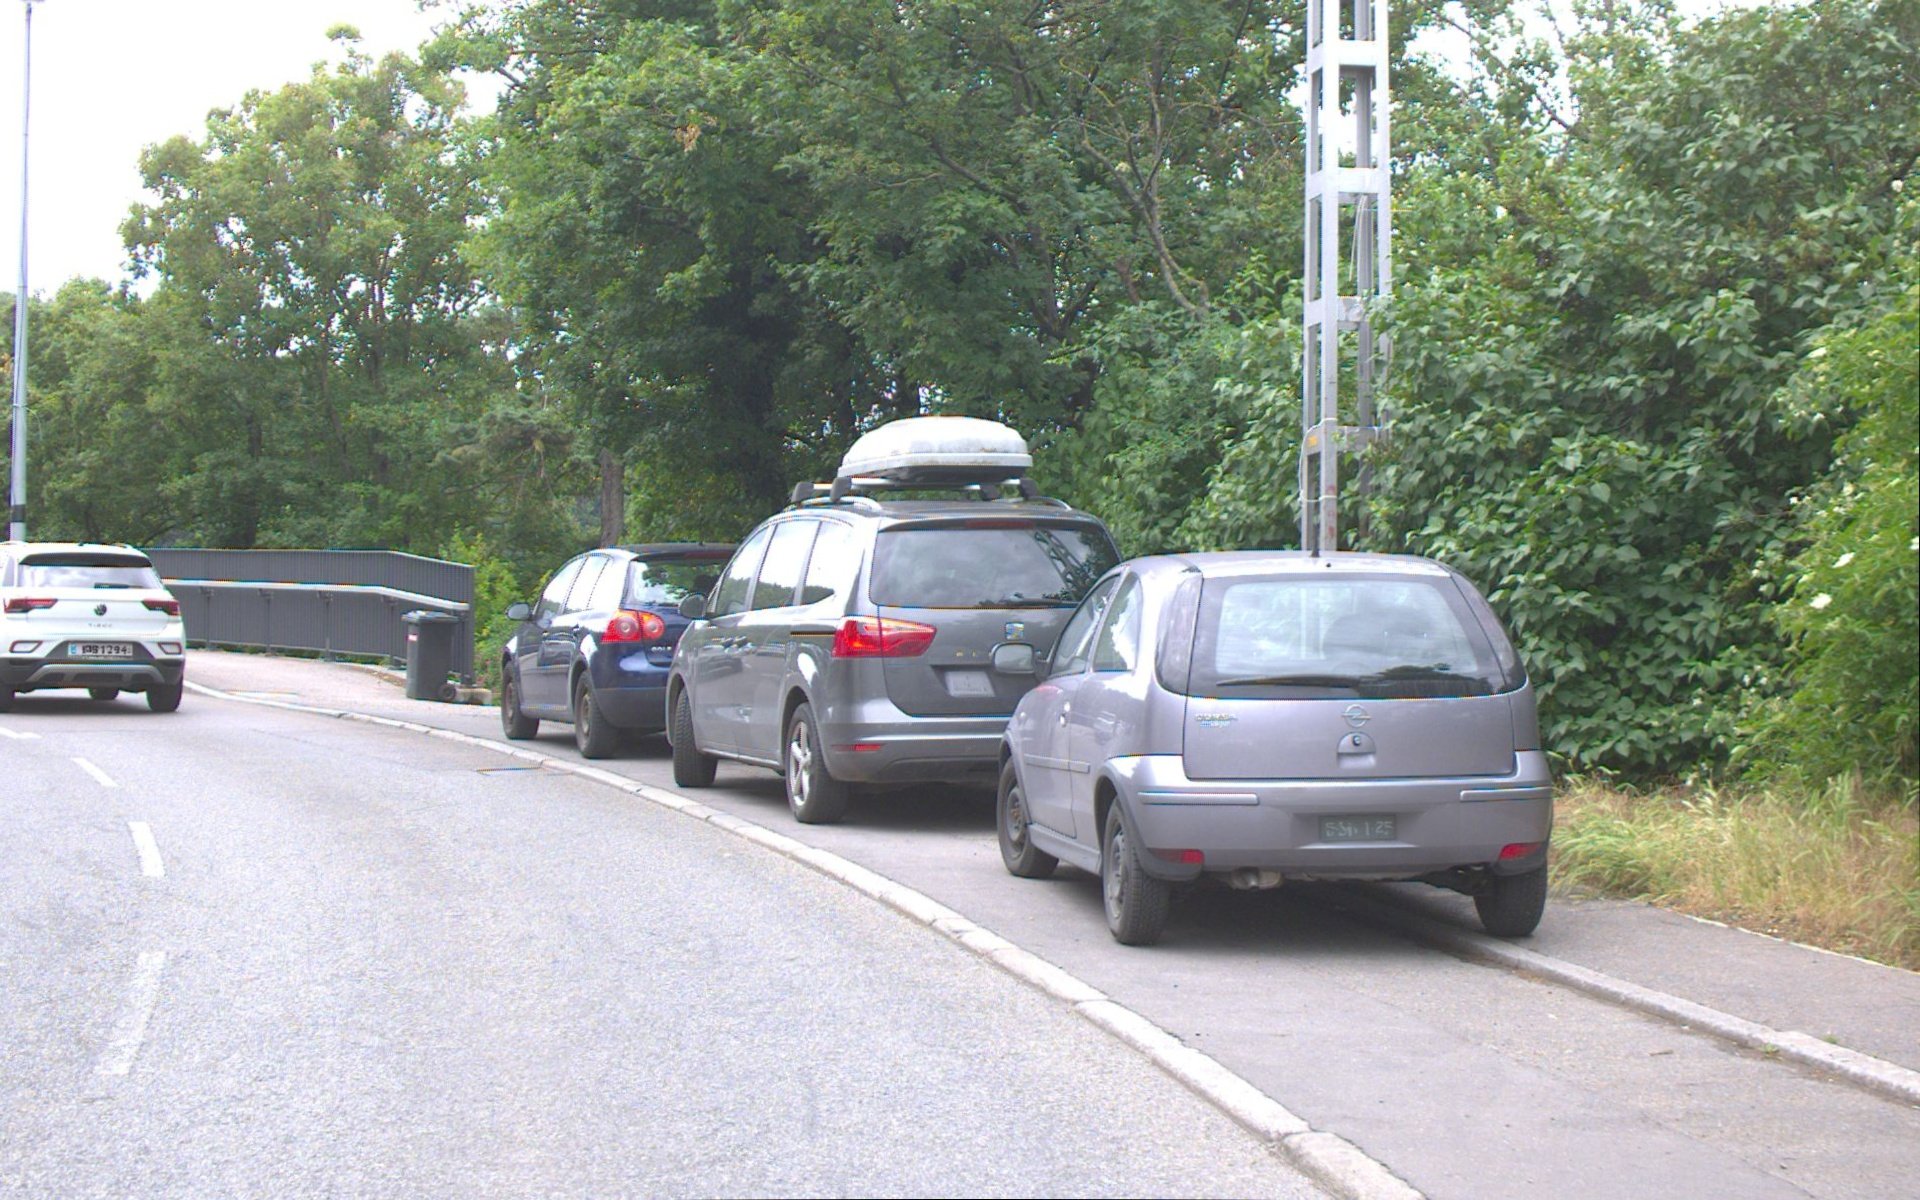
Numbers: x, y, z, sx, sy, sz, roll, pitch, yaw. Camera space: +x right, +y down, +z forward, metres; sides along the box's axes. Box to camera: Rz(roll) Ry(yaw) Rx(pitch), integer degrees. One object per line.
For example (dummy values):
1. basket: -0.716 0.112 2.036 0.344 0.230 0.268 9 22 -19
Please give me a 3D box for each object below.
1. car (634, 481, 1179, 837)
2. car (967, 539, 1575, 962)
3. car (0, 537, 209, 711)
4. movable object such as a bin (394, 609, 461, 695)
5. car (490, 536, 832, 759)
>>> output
1. car: -0.455 0.265 19.500 1.798 1.766 4.609 1 1 -18
2. car: 1.100 0.511 14.006 1.640 1.459 4.001 1 1 -7
3. car: -8.564 0.178 32.618 1.867 1.531 3.804 -1 1 -27
4. movable object such as a bin: -5.647 0.554 36.432 0.520 0.878 0.532 2 0 -28
5. car: -2.277 0.295 25.229 1.659 1.482 4.036 1 1 -17
